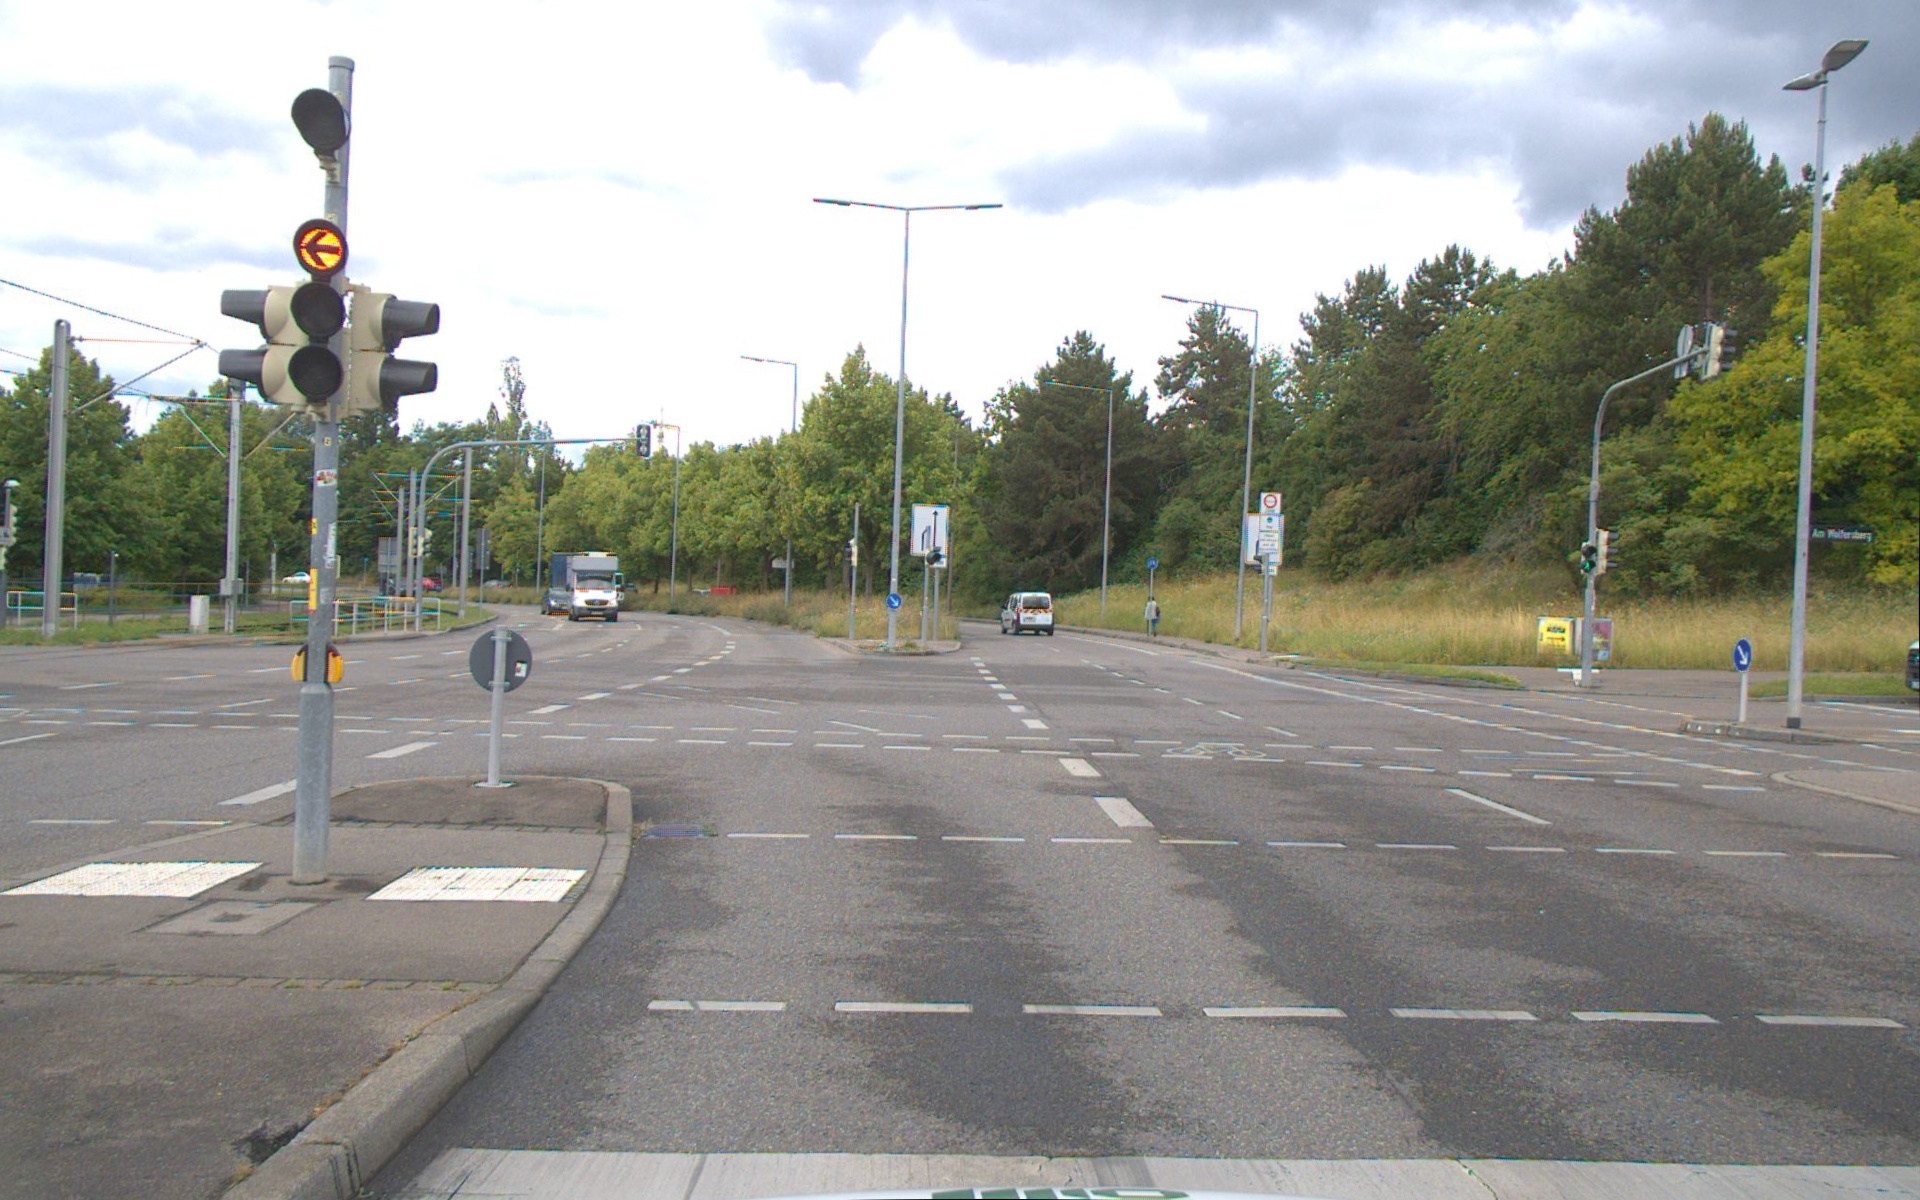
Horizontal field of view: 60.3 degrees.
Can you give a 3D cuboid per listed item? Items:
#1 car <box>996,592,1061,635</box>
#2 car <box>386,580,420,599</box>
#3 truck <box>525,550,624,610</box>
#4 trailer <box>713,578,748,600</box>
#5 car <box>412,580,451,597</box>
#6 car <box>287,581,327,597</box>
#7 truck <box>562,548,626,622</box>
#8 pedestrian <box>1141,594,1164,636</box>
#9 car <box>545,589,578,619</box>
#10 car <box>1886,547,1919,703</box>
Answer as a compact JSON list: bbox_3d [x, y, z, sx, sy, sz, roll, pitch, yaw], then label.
[{"bbox_3d":[2.943,0.586,72.349,1.957,1.833,4.829,1,0,-8],"label":"car"},{"bbox_3d":[-48.834,-0.931,144.902,1.765,1.471,4.476,-1,3,-33],"label":"car"},{"bbox_3d":[-26.452,-1.342,112.943,3.017,3.826,12.683,1,0,-30],"label":"truck"},{"bbox_3d":[-17.533,-0.837,126.189,1.744,1.644,3.017,1,0,-27],"label":"trailer"},{"bbox_3d":[-51.852,-1.118,162.316,3.948,1.573,1.775,1,0,39],"label":"car"},{"bbox_3d":[-67.415,-1.167,170.706,3.938,1.573,1.780,1,0,31],"label":"car"},{"bbox_3d":[-16.724,-0.644,75.334,2.084,3.190,5.865,1,0,-20],"label":"truck"},{"bbox_3d":[7.763,0.593,66.599,0.797,1.656,0.790,1,0,-1],"label":"pedestrian"},{"bbox_3d":[-22.281,0.187,92.621,1.750,1.471,4.513,0,2,-13],"label":"car"},{"bbox_3d":[20.332,0.470,30.094,5.772,2.830,2.135,0,0,-1],"label":"car"}]
